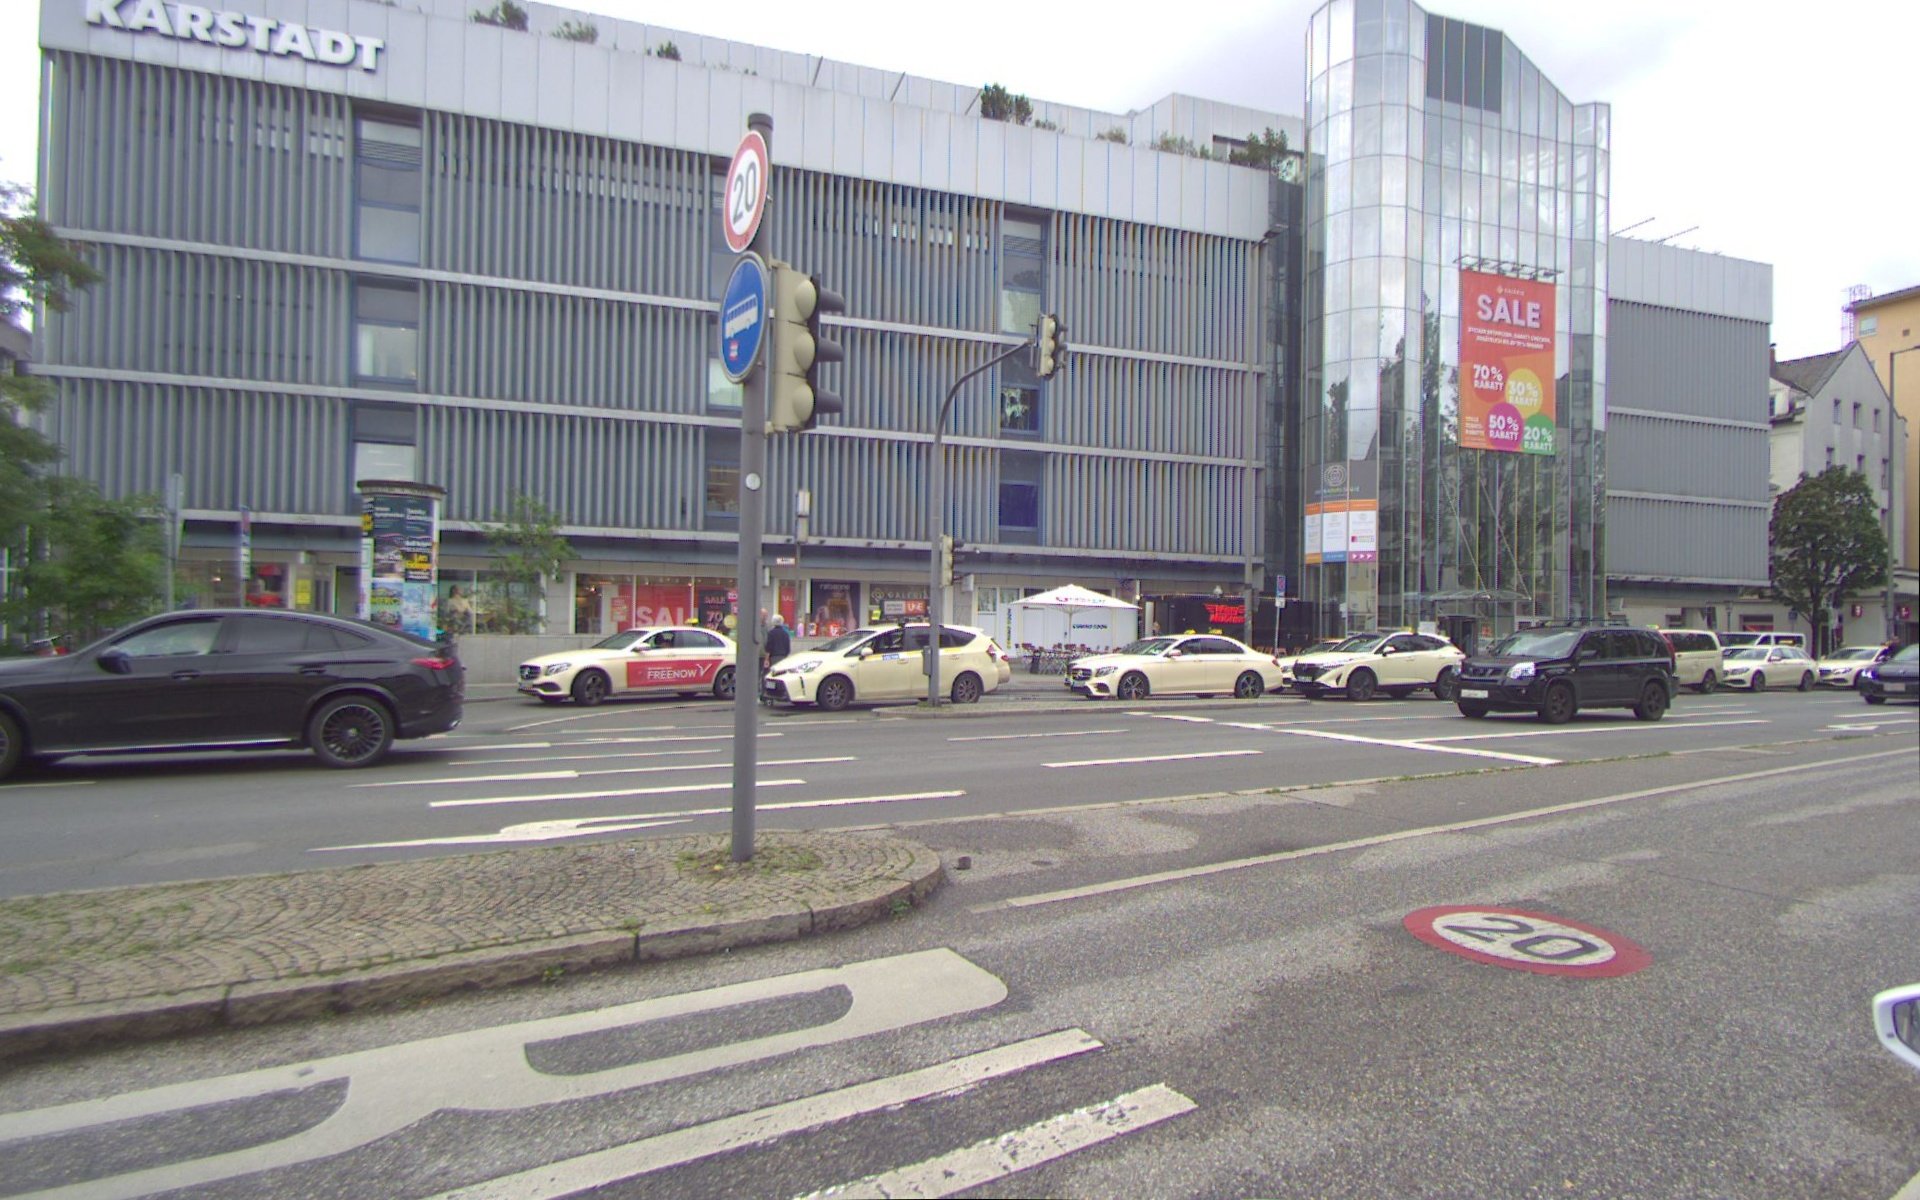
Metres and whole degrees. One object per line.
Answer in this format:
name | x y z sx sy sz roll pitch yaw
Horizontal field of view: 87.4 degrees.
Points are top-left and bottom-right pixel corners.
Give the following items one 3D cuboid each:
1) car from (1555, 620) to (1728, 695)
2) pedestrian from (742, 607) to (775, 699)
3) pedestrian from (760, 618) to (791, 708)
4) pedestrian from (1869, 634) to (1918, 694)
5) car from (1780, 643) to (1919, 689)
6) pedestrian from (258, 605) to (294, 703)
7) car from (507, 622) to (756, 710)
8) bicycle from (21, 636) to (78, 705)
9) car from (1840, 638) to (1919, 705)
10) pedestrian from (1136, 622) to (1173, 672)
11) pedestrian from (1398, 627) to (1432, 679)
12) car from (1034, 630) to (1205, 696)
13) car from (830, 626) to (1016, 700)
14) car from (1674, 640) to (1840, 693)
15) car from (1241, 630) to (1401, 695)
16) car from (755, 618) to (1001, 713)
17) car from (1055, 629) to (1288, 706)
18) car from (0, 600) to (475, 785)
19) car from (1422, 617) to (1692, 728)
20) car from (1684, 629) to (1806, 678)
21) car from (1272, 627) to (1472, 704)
car | 20.091 1.676 29.569 5.255 2.040 1.986 2 -3 -28
pedestrian | -3.900 1.019 19.466 0.424 1.752 0.521 2 0 -31
pedestrian | -3.491 1.191 19.009 0.420 1.677 0.362 2 0 -31
pedestrian | 30.258 2.062 32.572 0.830 1.892 0.788 1 -1 0
car | 30.224 2.226 34.004 4.914 1.488 1.852 2 -4 -25
pedestrian | -12.267 0.956 18.024 0.454 1.722 0.428 2 0 -31
car | -6.300 1.220 19.609 1.835 1.530 4.271 -1 -2 45
bicycle | -14.291 1.085 15.788 0.415 1.030 1.287 1 -2 -32
car | 24.114 1.722 24.695 4.955 1.527 1.987 1 -2 -26
pedestrian | 6.112 1.469 31.559 0.885 1.566 0.731 1 -1 -18
pedestrian | 16.320 1.895 36.049 0.805 1.829 0.788 1 -1 -18
car | 4.016 1.558 25.275 3.943 1.557 1.748 1 -2 -23
car | -0.857 1.438 23.601 3.950 1.587 1.899 1 -2 -28
car | 25.366 2.094 31.969 5.012 1.573 1.974 1 -2 -22
car | 9.709 1.654 27.035 3.944 1.637 1.767 2 -2 -24
car | -1.496 1.204 19.083 4.426 1.633 1.579 2 -2 -31
car | 4.673 1.446 22.204 4.775 1.561 1.943 1 -2 -21
car | -7.492 0.851 10.205 4.559 1.597 1.986 2 -2 -28
car | 10.759 1.240 18.088 4.536 1.801 1.988 1 -2 -25
car | 34.458 2.332 44.108 5.037 2.040 1.990 1 -2 -22
car | 9.888 1.547 24.133 4.316 1.721 1.883 1 -3 -20
